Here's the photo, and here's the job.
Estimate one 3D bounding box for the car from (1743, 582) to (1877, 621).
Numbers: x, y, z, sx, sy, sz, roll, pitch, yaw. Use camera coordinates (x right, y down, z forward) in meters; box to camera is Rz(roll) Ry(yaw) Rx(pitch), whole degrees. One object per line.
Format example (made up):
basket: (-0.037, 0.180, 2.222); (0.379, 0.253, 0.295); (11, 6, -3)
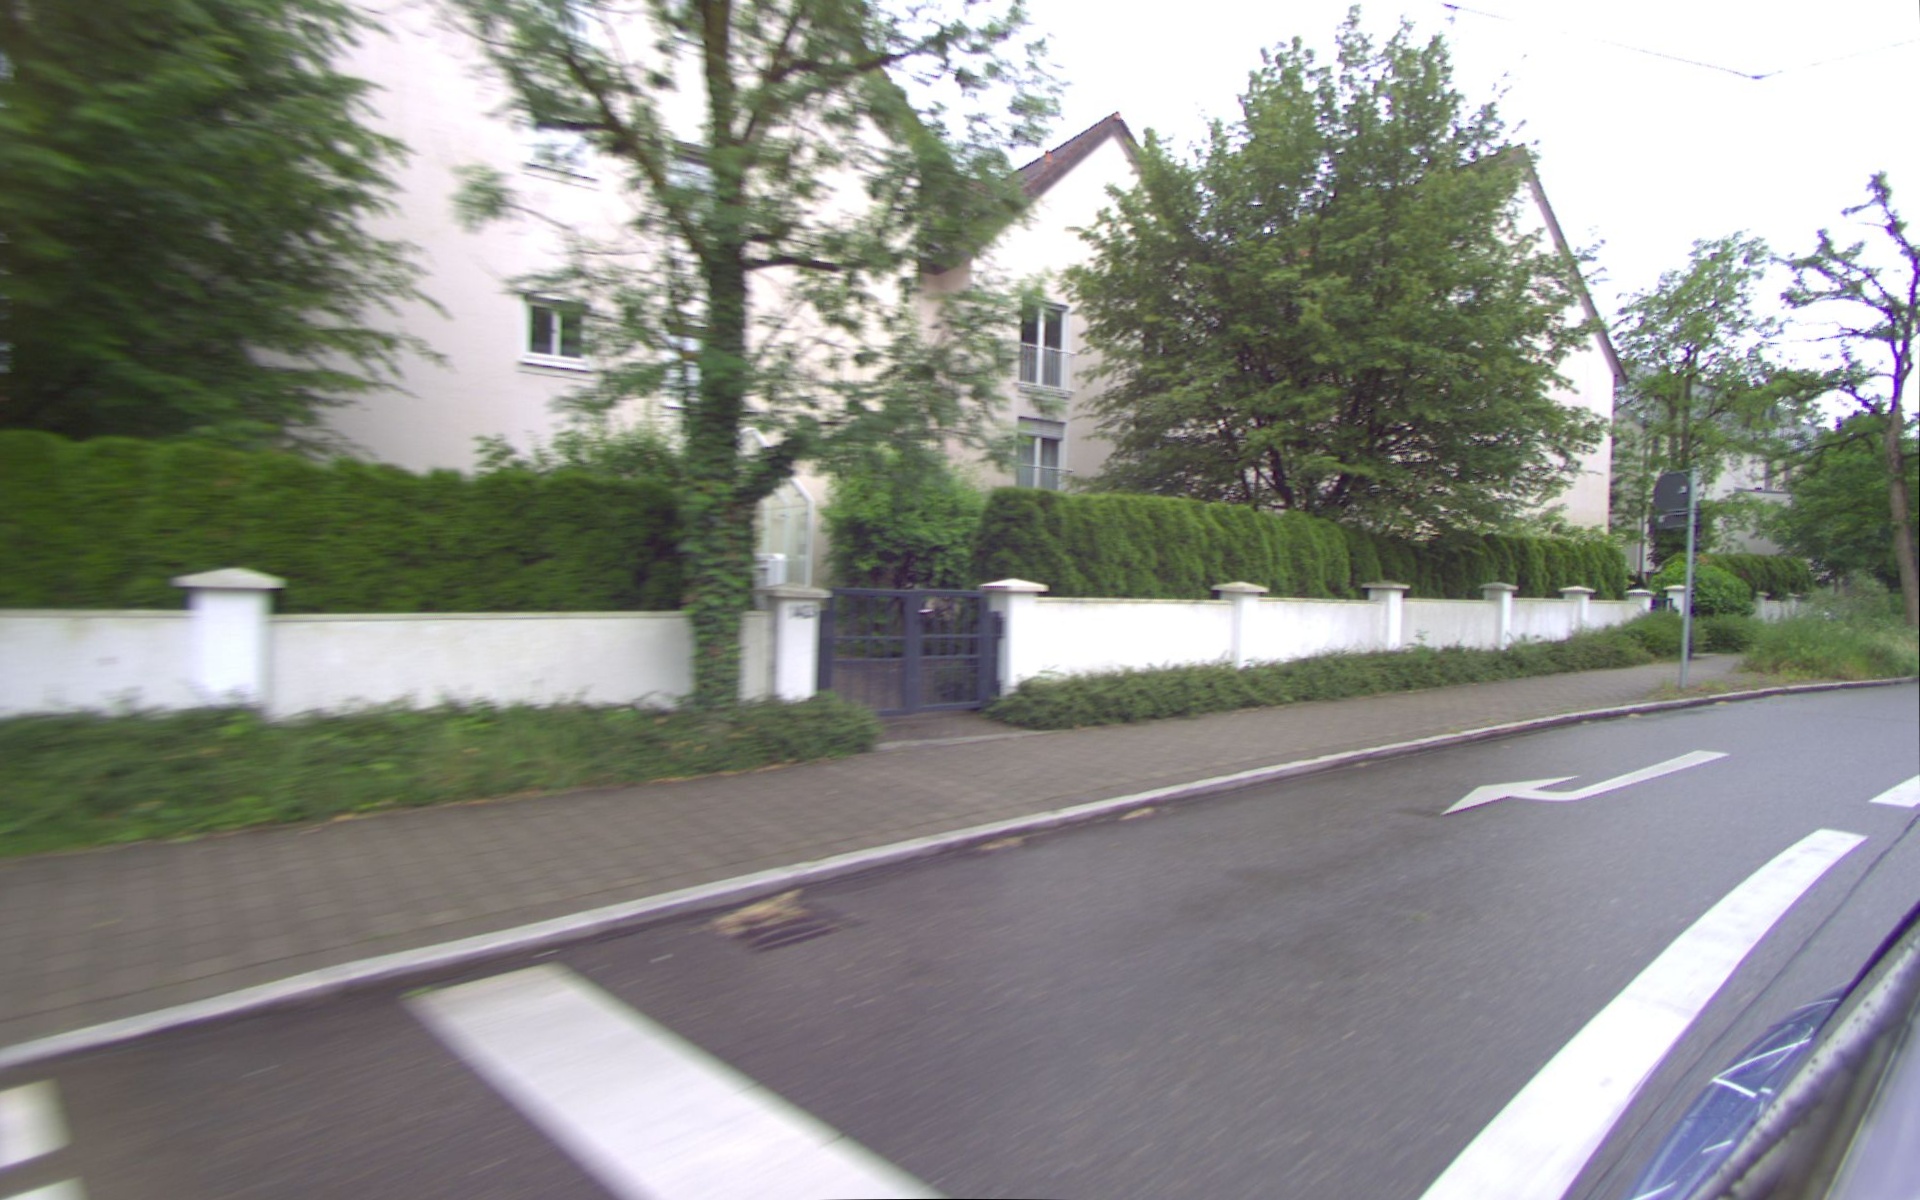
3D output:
car: (32.481, 0.016, 38.766); (1.505, 1.382, 3.643); (0, 2, -30)
